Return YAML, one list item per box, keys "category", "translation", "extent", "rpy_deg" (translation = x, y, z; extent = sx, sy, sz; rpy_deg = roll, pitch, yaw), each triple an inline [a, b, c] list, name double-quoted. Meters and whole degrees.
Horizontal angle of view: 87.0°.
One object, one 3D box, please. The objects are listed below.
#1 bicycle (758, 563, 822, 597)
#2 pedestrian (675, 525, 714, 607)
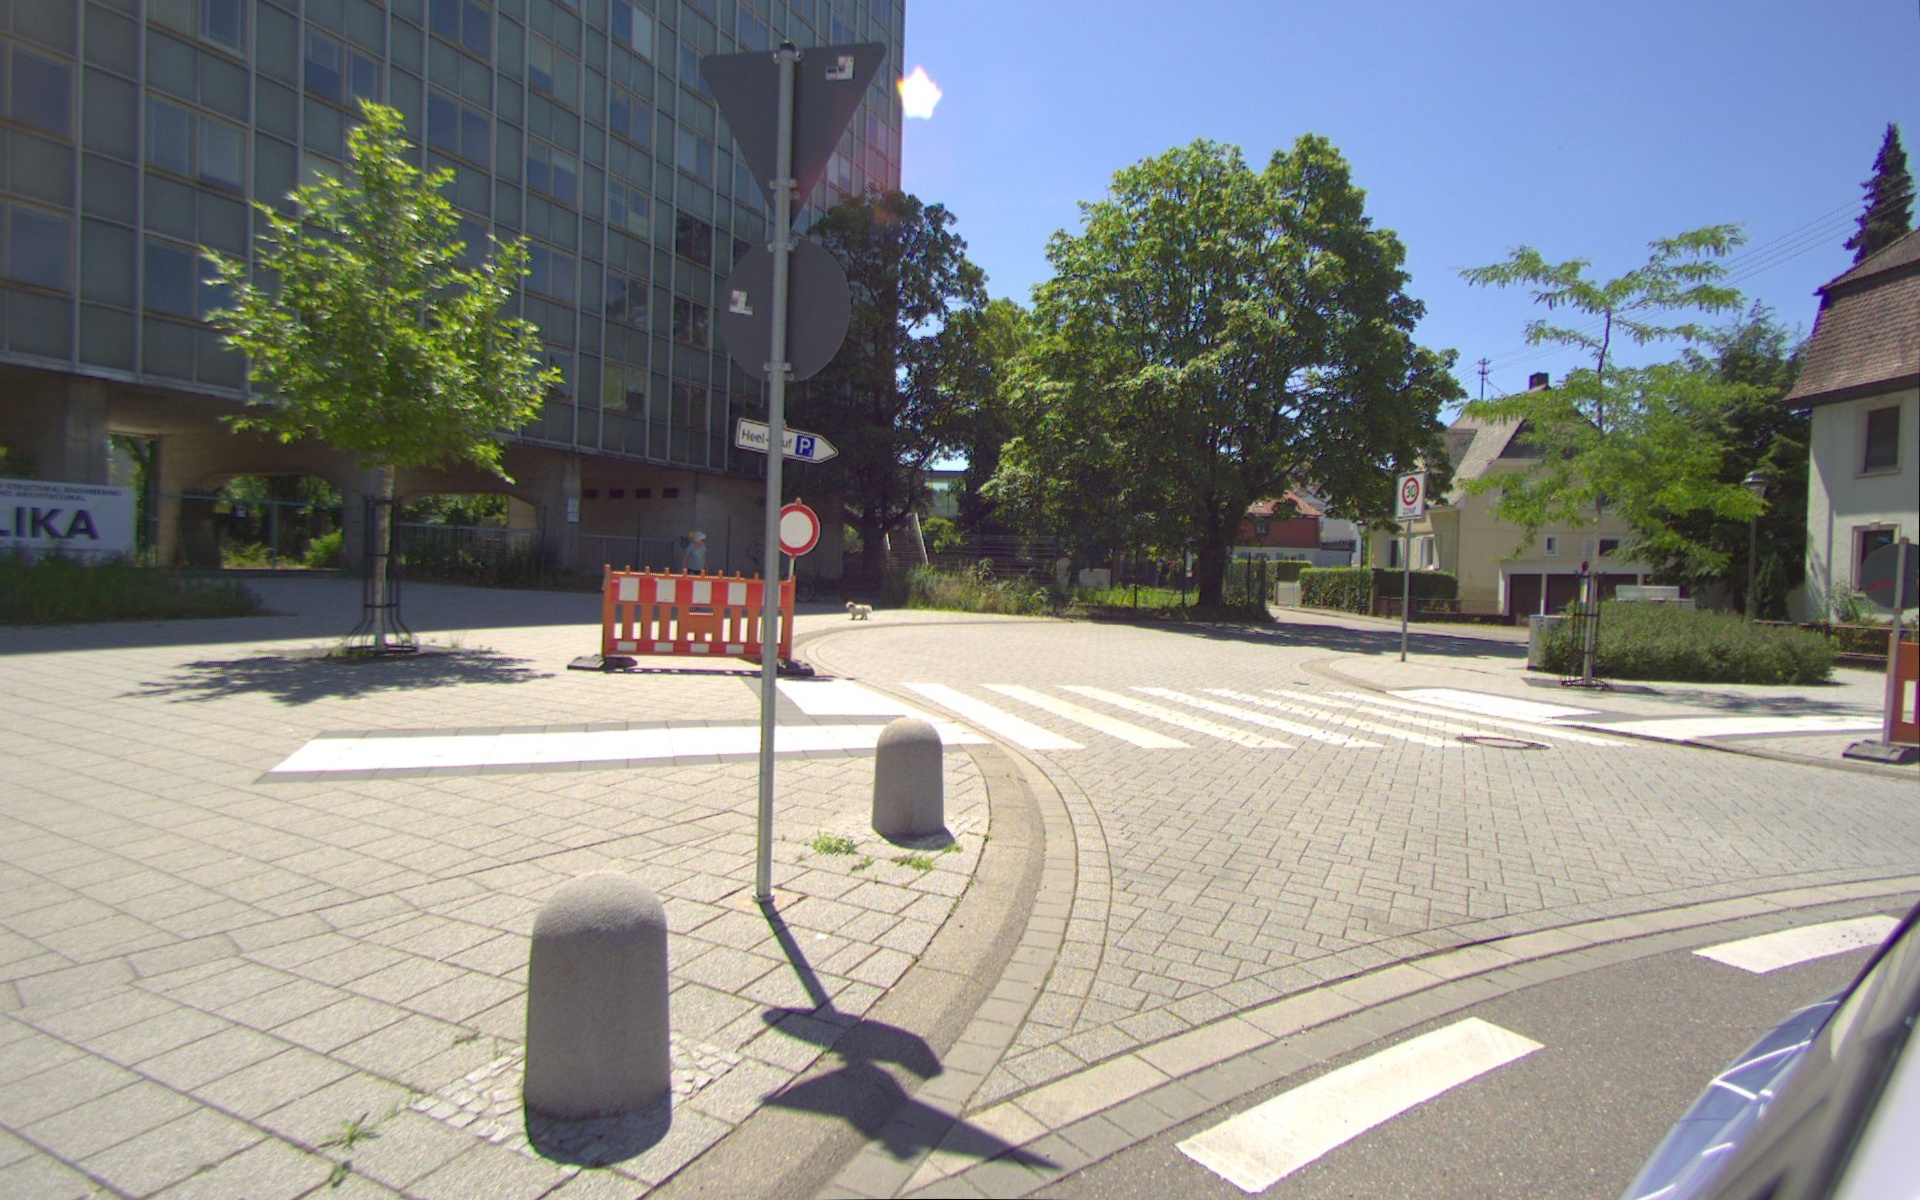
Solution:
- category: "bicycle"
  translation: [-4.804, -0.577, 28.666]
  extent: [1.723, 0.918, 0.448]
  rpy_deg: [2, 2, 6]
- category: "pedestrian"
  translation: [-5.740, -0.736, 21.867]
  extent: [0.483, 1.728, 0.560]
  rpy_deg: [5, 3, 33]
